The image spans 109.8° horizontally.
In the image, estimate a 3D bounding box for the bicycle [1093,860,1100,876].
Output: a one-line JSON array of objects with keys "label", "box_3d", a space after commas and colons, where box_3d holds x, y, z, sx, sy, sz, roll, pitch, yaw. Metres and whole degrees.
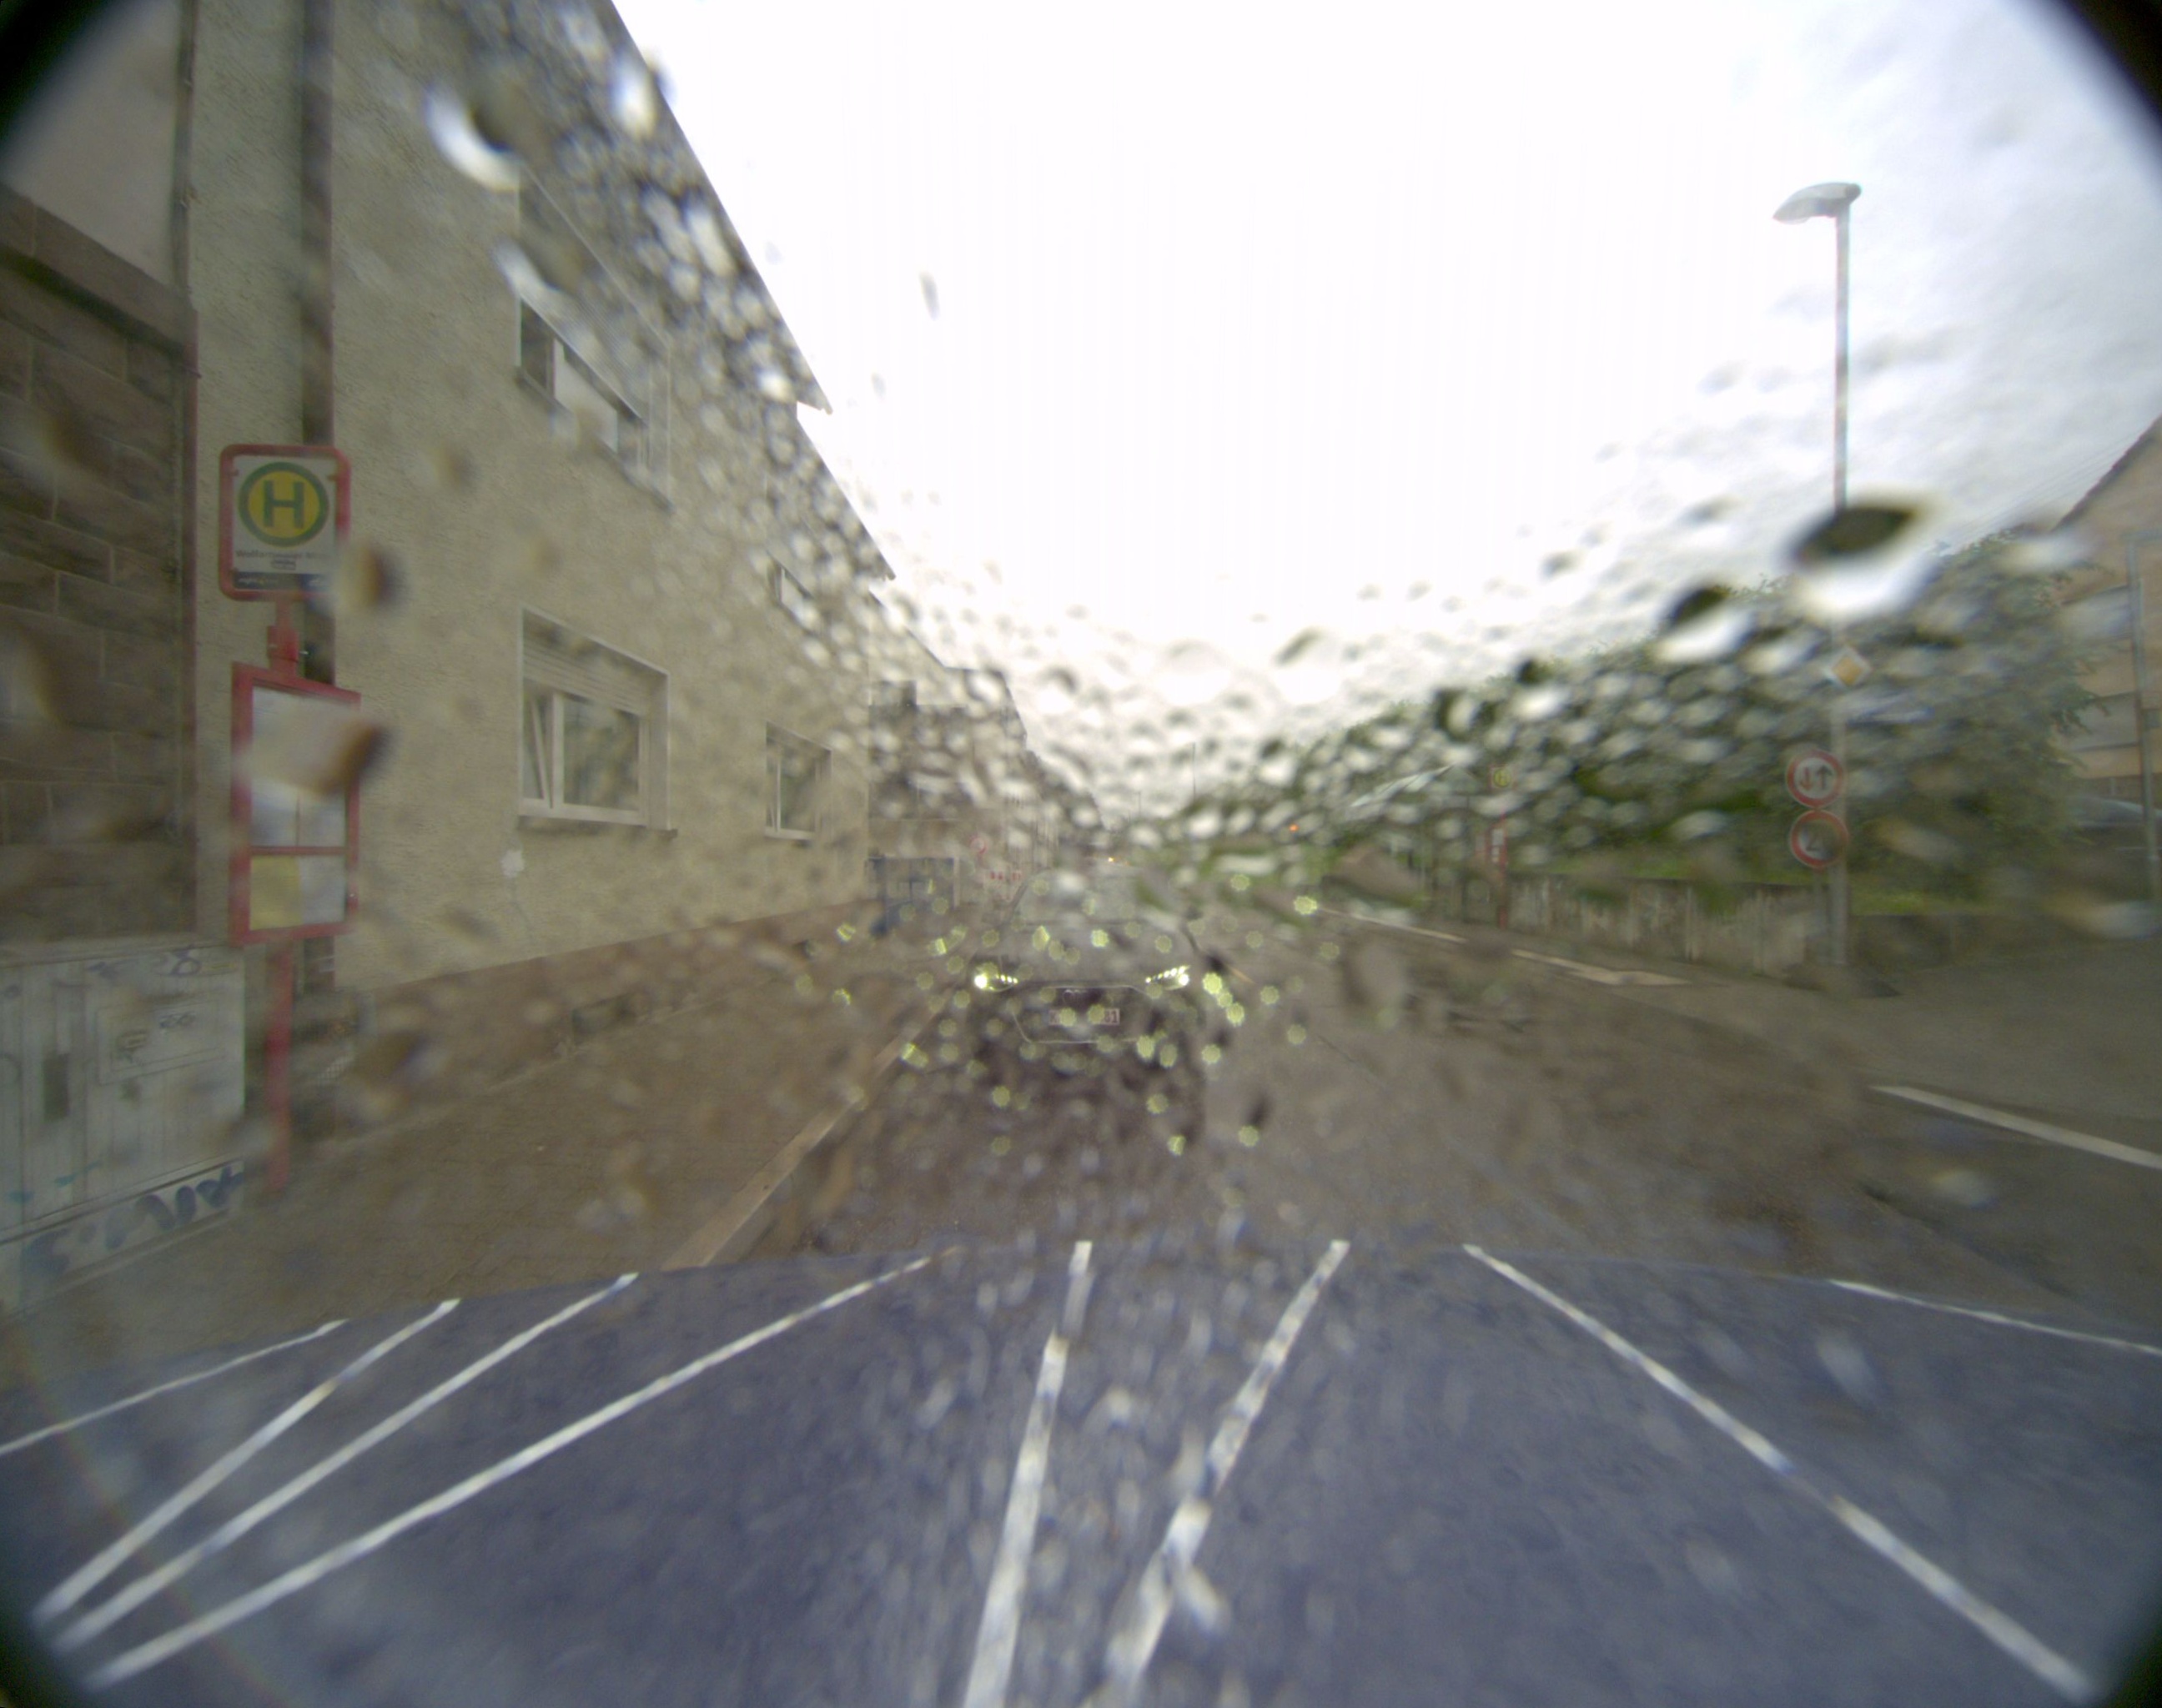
[{"label": "bicycle", "box_3d": [1.032, 0.908, 51.137, 0.407, 1.023, 1.221, 1, 1, 2]}]

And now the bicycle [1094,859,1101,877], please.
[{"label": "bicycle", "box_3d": [1.091, 0.884, 48.901, 0.407, 1.137, 1.221, 1, 1, 2]}]

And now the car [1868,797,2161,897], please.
[{"label": "car", "box_3d": [15.854, -0.205, 12.334, 1.749, 1.382, 4.220, -1, 3, 0]}]

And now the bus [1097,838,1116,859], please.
[{"label": "bus", "box_3d": [3.891, -0.960, 118.332, 2.685, 2.987, 14.544, 1, 1, 1]}]

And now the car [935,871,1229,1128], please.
[{"label": "car", "box_3d": [0.031, 0.985, 7.120, 1.851, 1.444, 4.531, 1, 1, 1]}]
